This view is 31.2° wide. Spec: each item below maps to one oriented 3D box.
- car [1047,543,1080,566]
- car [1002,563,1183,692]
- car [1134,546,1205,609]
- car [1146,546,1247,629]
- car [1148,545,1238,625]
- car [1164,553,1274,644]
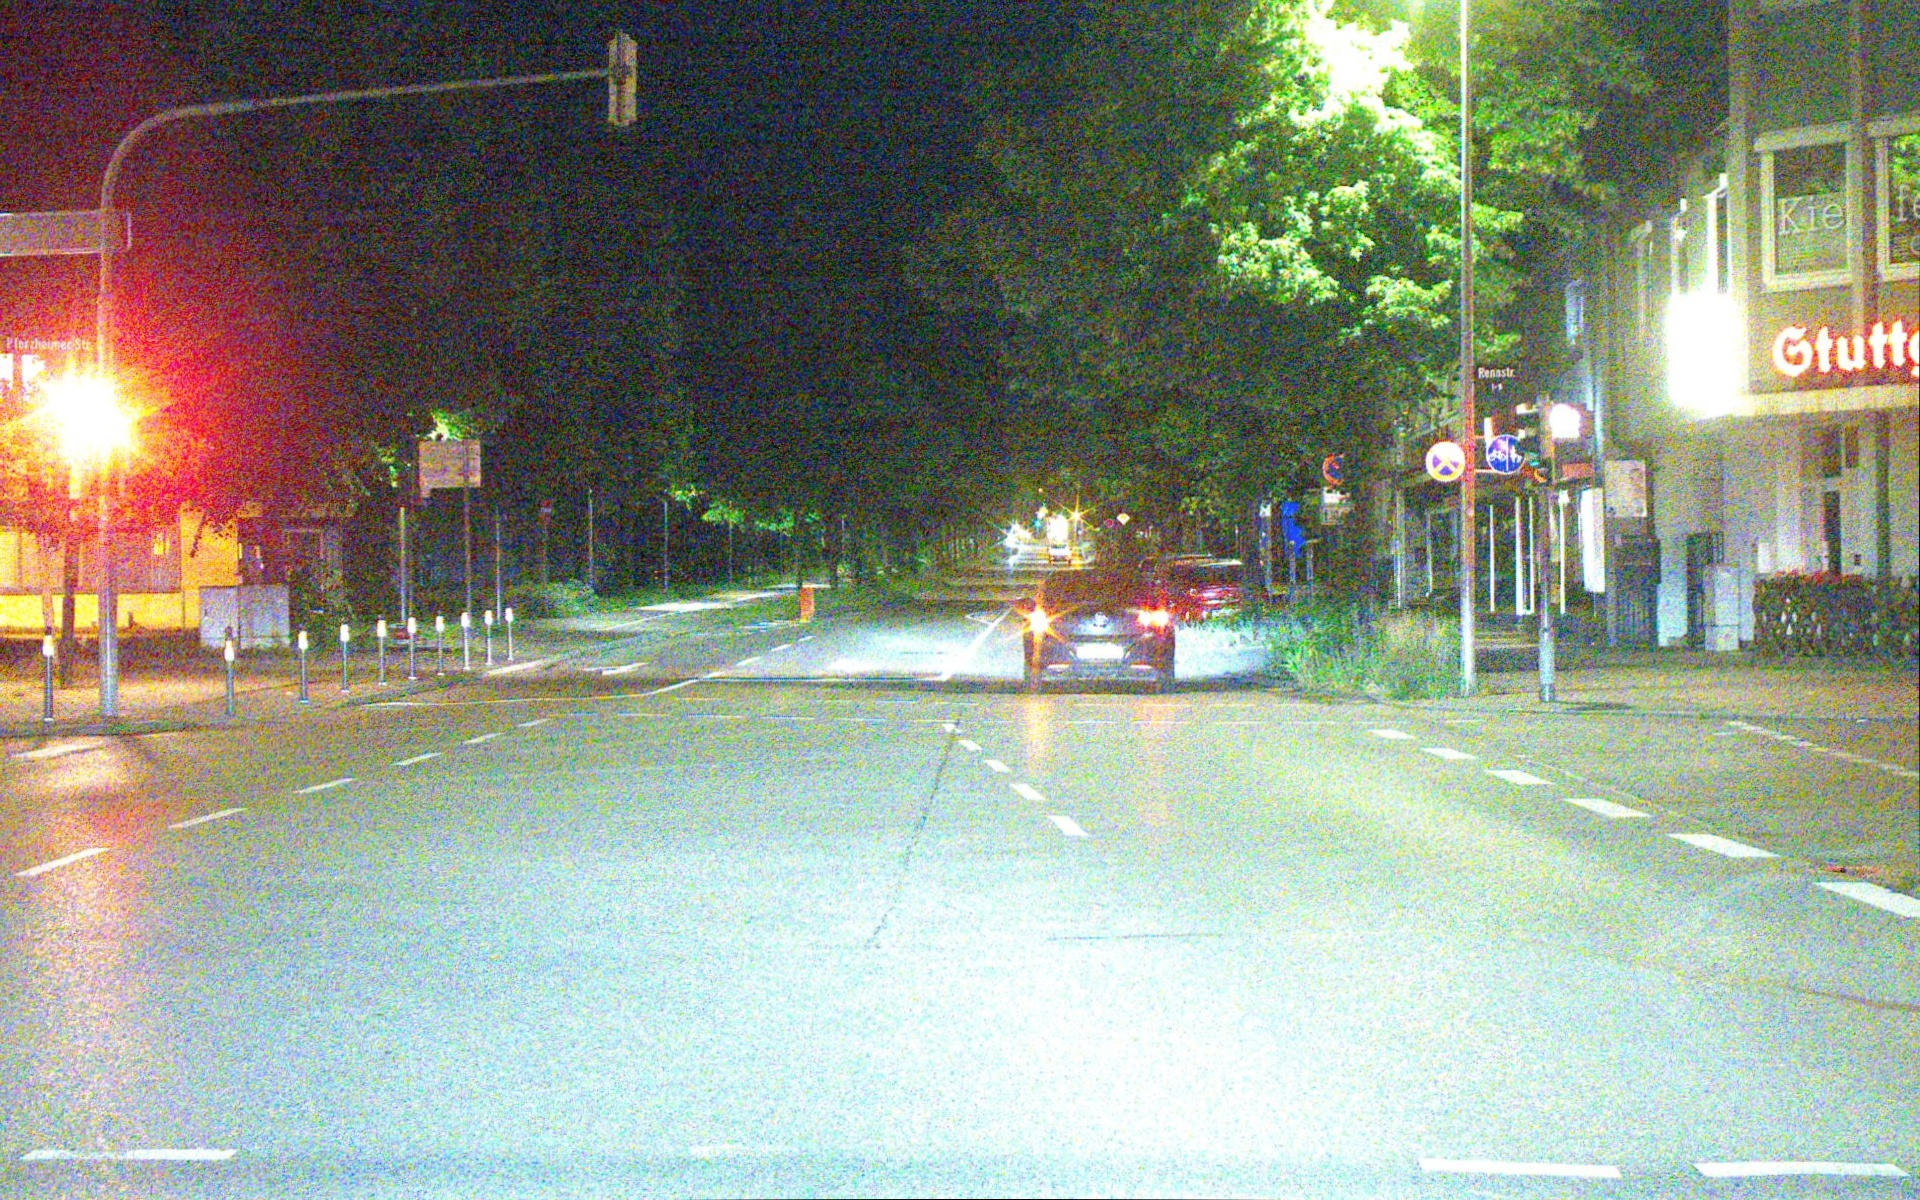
[{"bbox_3d":[7.435,-3.279,247.223,2.227,1.645,4.000,0,1,0],"label":"car"},{"bbox_3d":[1.538,0.288,41.454,1.873,1.449,4.317,1,1,-2],"label":"car"},{"bbox_3d":[5.739,-0.623,94.516,1.876,1.678,4.000,0,1,2],"label":"car"},{"bbox_3d":[4.703,-0.262,68.800,1.876,1.610,4.000,0,1,2],"label":"car"},{"bbox_3d":[5.162,-0.343,76.470,1.876,1.723,4.000,0,1,2],"label":"car"},{"bbox_3d":[4.746,-0.048,63.469,1.876,1.610,4.000,0,1,2],"label":"car"}]
